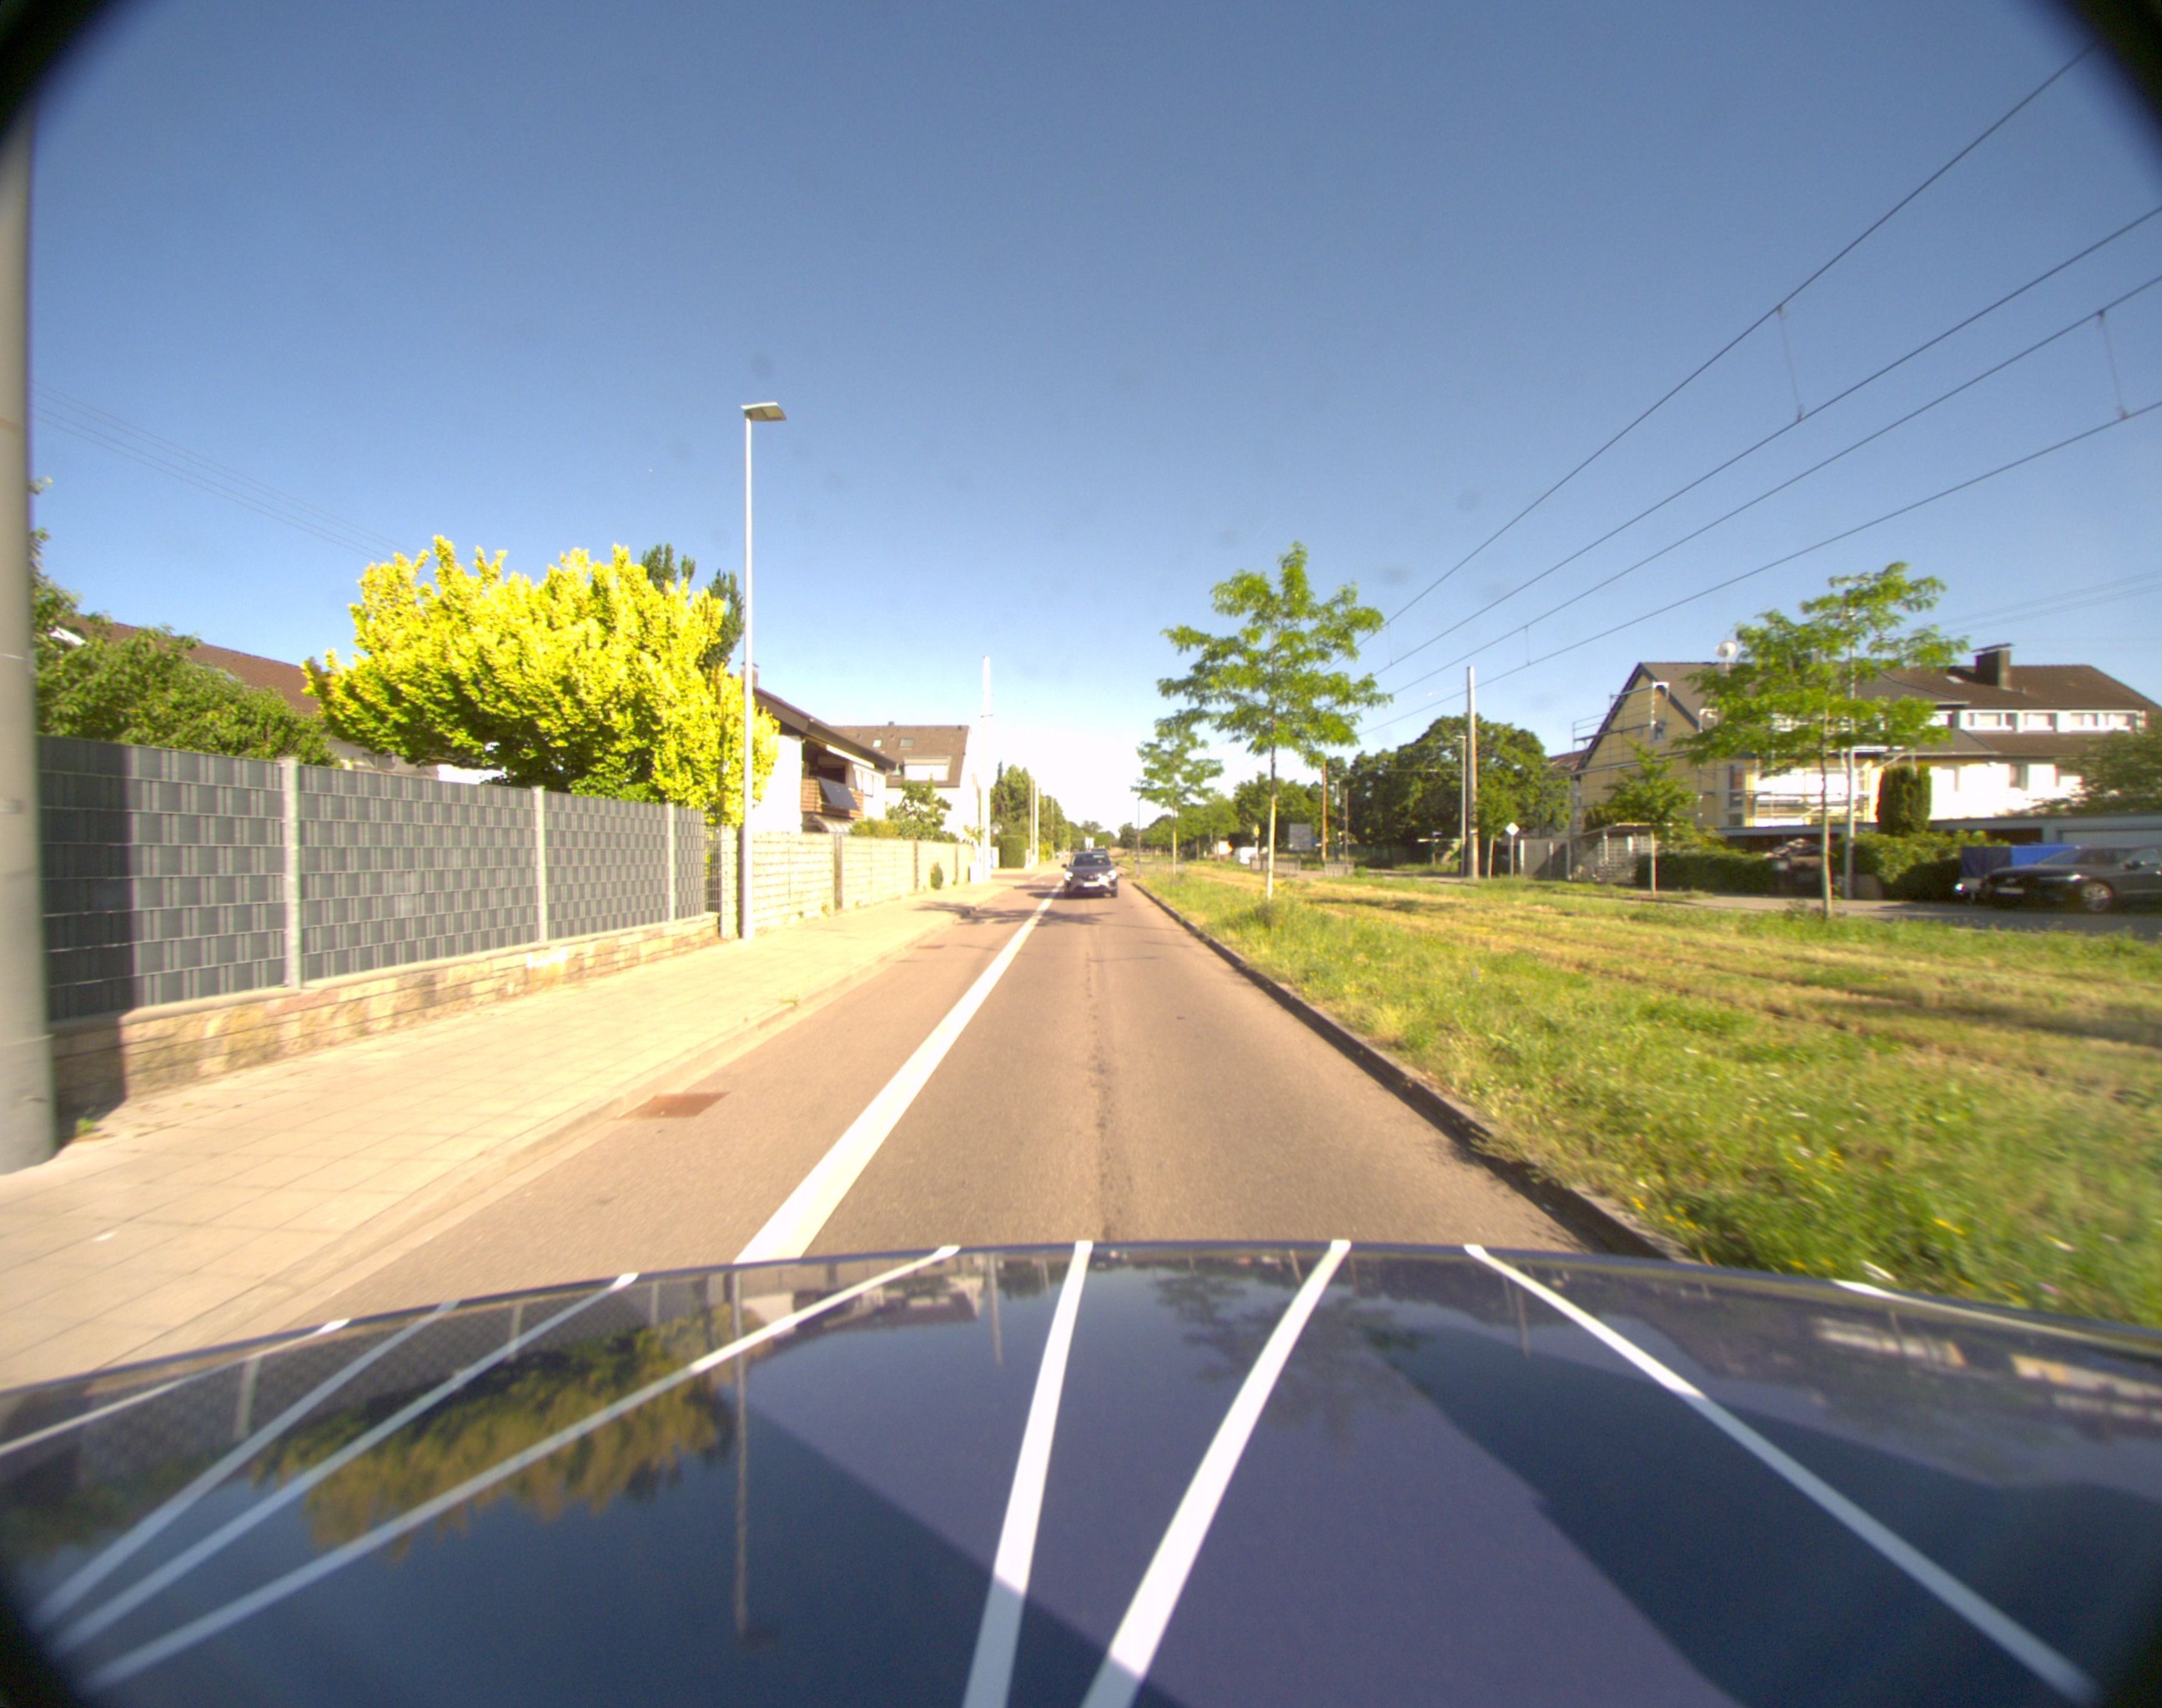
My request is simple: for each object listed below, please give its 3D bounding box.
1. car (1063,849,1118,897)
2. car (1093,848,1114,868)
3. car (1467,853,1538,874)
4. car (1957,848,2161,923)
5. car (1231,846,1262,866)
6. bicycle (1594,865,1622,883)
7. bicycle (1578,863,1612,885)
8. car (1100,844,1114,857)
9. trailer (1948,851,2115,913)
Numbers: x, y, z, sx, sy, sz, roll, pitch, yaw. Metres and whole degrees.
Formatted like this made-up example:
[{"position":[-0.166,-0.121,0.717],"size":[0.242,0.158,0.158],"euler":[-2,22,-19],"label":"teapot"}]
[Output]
[{"position":[0.286,0.636,28.181],"size":[1.867,1.614,3.999],"euler":[-1,0,-1],"label":"car"},{"position":[2.202,0.353,74.295],"size":[1.998,1.824,3.999],"euler":[-2,1,1],"label":"car"},{"position":[30.081,0.684,54.289],"size":[3.997,1.396,1.852],"euler":[0,3,0],"label":"car"},{"position":[24.738,0.714,18.755],"size":[4.556,1.724,2.051],"euler":[0,1,-11],"label":"car"},{"position":[16.407,0.214,75.491],"size":[1.902,1.903,4.700],"euler":[-1,0,-3],"label":"car"},{"position":[24.875,0.937,35.888],"size":[0.311,0.817,1.509],"euler":[-2,1,1],"label":"bicycle"},{"position":[24.163,0.914,35.749],"size":[0.424,0.937,1.748],"euler":[-2,1,1],"label":"bicycle"},{"position":[3.788,-0.591,113.321],"size":[1.998,1.824,3.999],"euler":[-2,1,1],"label":"car"},{"position":[26.223,0.740,21.019],"size":[2.921,1.638,1.398],"euler":[0,1,-2],"label":"trailer"}]
